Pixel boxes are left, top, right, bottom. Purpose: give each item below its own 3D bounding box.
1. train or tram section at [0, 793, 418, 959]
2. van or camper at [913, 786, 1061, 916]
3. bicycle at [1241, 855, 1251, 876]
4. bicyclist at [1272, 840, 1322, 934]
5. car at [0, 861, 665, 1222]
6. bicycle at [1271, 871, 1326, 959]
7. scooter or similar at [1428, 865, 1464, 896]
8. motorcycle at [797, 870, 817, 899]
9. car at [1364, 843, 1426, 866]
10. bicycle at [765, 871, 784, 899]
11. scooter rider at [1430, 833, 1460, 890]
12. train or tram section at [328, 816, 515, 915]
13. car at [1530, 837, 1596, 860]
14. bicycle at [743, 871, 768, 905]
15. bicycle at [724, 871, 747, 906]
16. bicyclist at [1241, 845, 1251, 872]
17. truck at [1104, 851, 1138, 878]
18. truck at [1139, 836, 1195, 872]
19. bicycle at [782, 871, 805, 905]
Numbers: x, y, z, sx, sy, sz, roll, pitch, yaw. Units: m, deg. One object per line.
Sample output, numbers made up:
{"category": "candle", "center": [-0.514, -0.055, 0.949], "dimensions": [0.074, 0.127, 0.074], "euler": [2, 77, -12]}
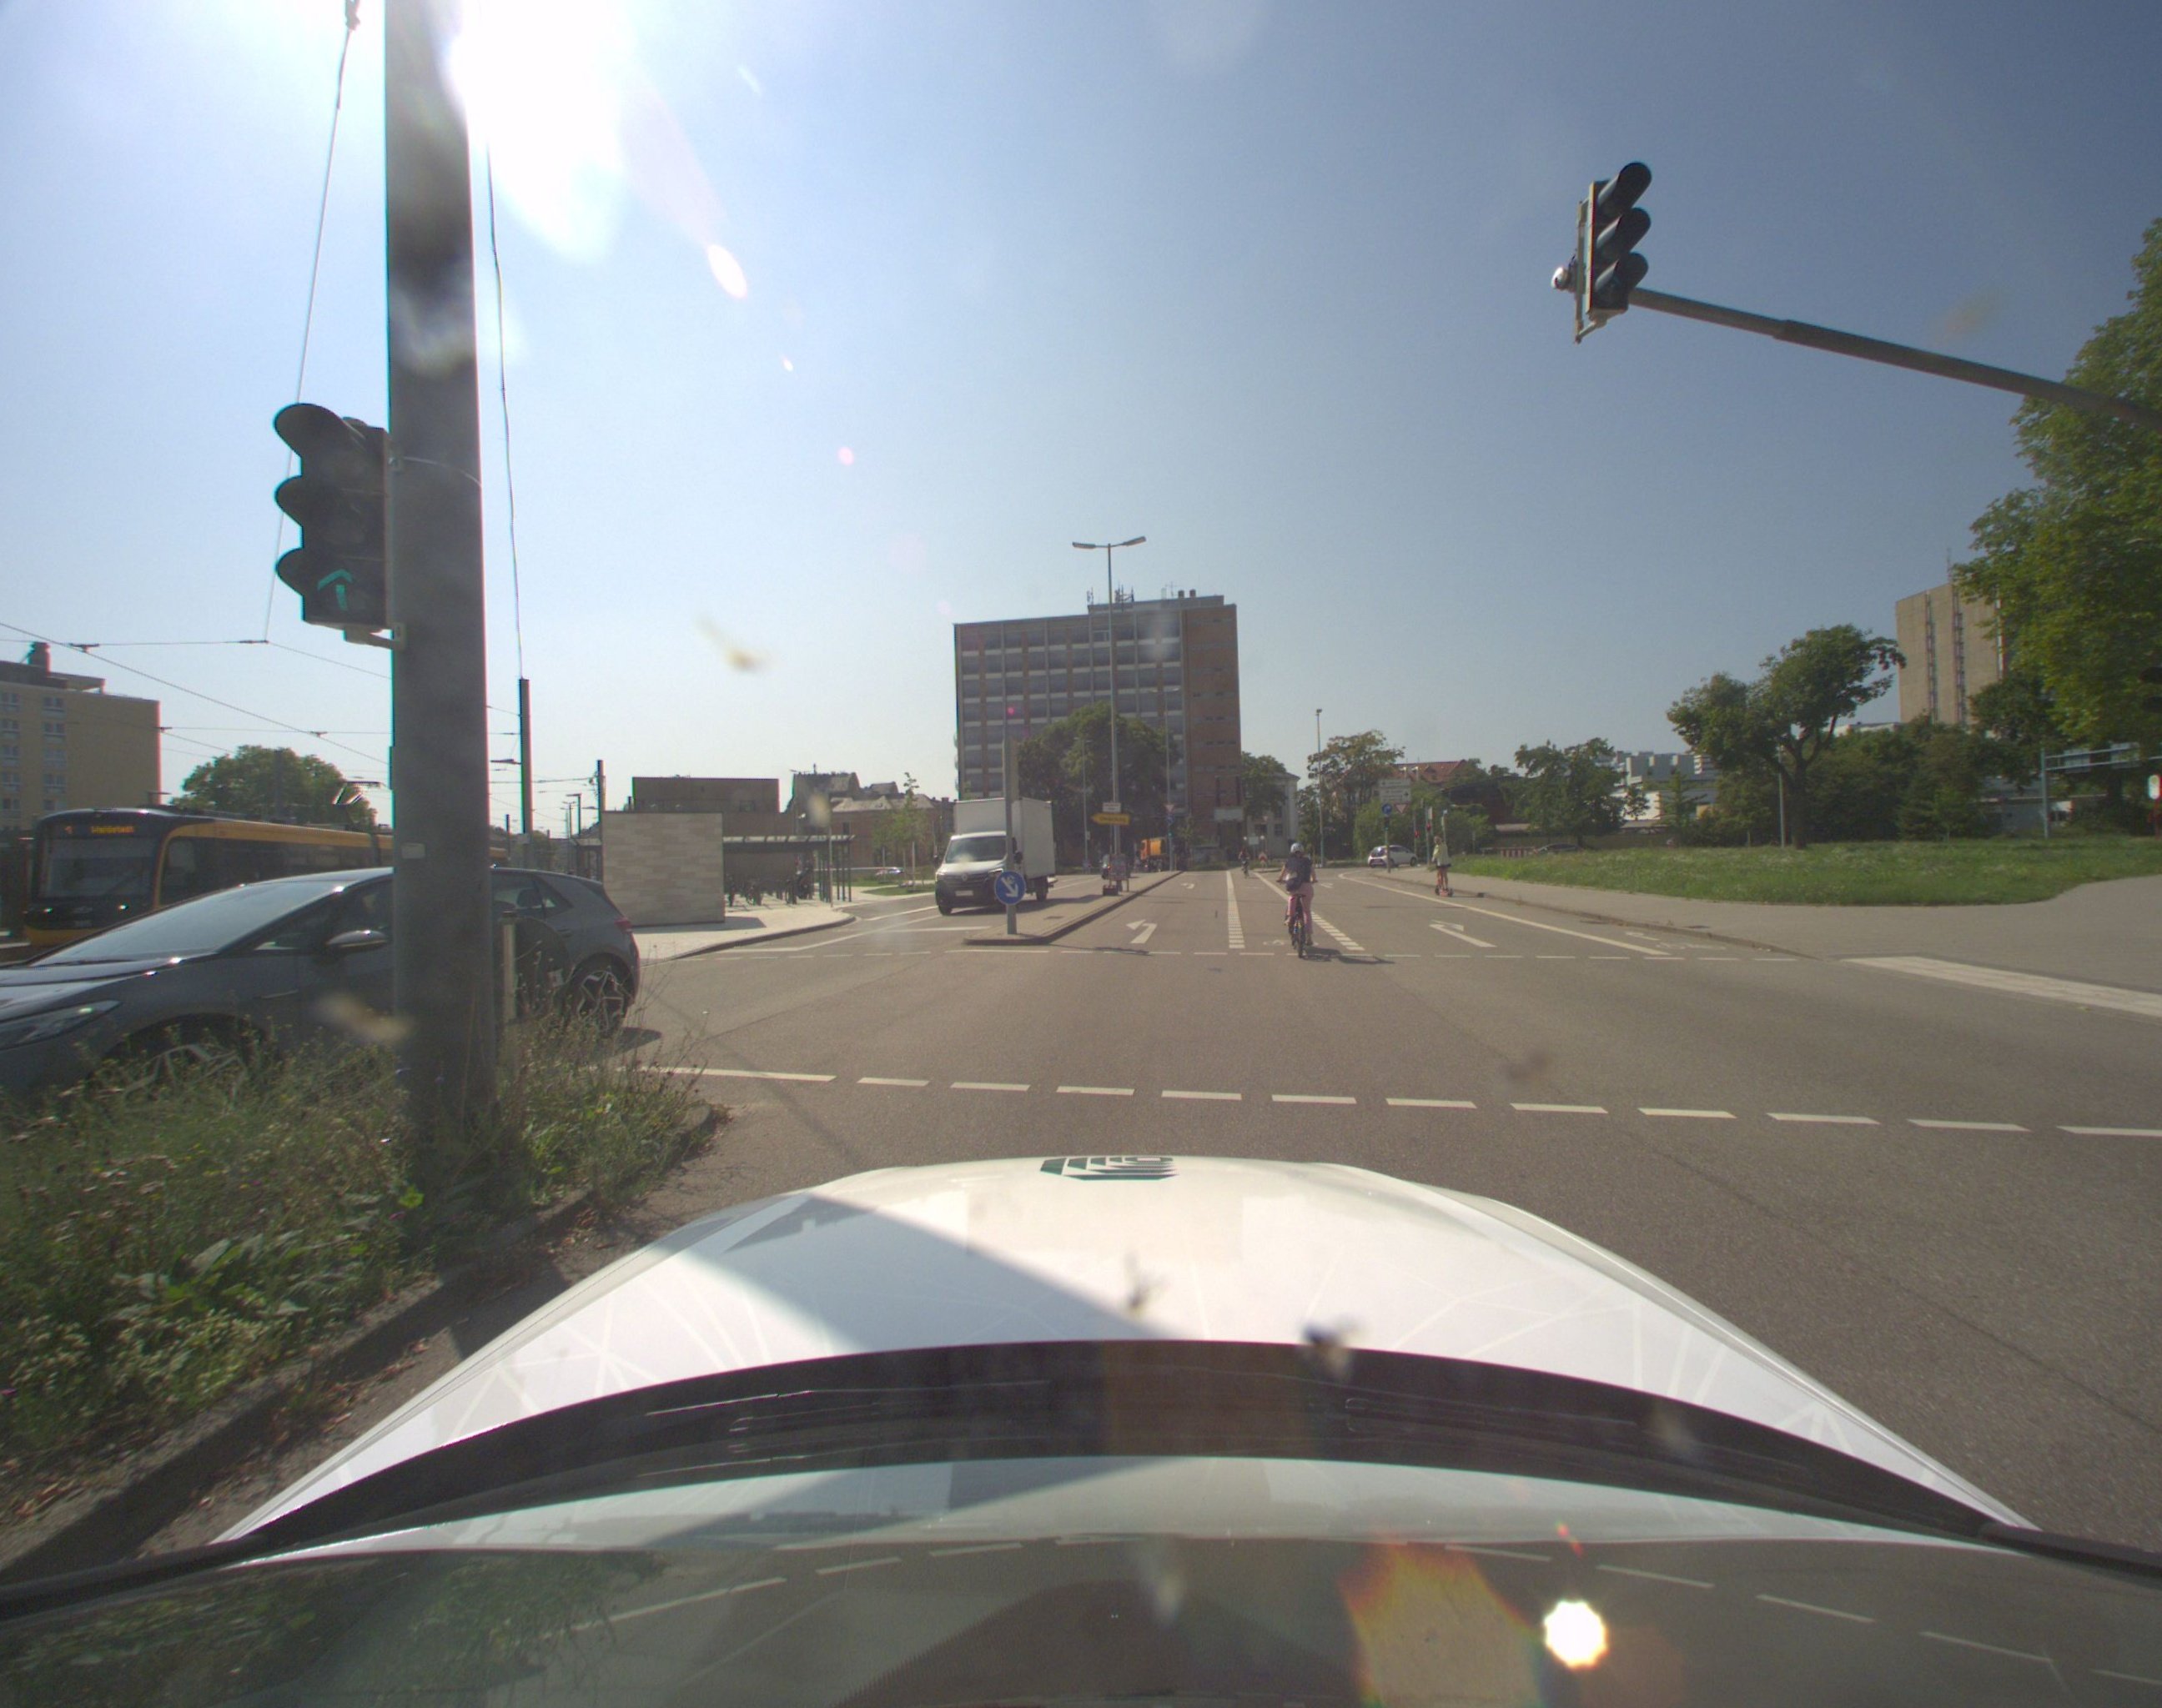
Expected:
{"category": "train or tram section", "center": [-25.660, 0.614, 25.932], "dimensions": [2.871, 3.548, 17.592], "euler": [-1, -1, -25]}
{"category": "van or camper", "center": [-2.565, -0.086, 24.885], "dimensions": [2.385, 3.306, 7.211], "euler": [-2, 0, 10]}
{"category": "bicycle", "center": [9.006, 0.636, 44.430], "dimensions": [0.441, 1.116, 1.450], "euler": [-2, 0, 9]}
{"category": "bicyclist", "center": [3.167, 0.479, 11.992], "dimensions": [0.599, 1.335, 0.661], "euler": [-2, 0, 8]}
{"category": "car", "center": [-5.171, 0.874, 5.788], "dimensions": [1.686, 1.530, 4.195], "euler": [-2, 0, 10]}
{"category": "bicycle", "center": [3.196, 0.857, 12.073], "dimensions": [0.600, 1.163, 1.816], "euler": [-2, 0, 10]}
{"category": "scooter or similar", "center": [11.643, 0.842, 26.004], "dimensions": [0.766, 0.926, 1.626], "euler": [-1, 0, 14]}
{"category": "motorcycle", "center": [-12.165, 1.343, 36.192], "dimensions": [0.605, 1.210, 2.242], "euler": [-2, 0, -14]}
{"category": "car", "center": [21.161, 0.022, 54.857], "dimensions": [4.014, 1.391, 1.830], "euler": [-2, 0, -32]}
{"category": "bicycle", "center": [-14.124, 1.419, 37.566], "dimensions": [0.605, 1.210, 1.802], "euler": [-2, 0, -14]}
{"category": "scooter rider", "center": [11.673, 0.241, 26.138], "dimensions": [0.756, 1.775, 0.557], "euler": [-2, 0, 14]}
{"category": "train or tram section", "center": [-33.427, 0.637, 42.596], "dimensions": [2.900, 4.068, 18.984], "euler": [-1, -1, -24]}
{"category": "car", "center": [36.978, -0.420, 62.548], "dimensions": [3.960, 1.565, 1.829], "euler": [-2, 0, 12]}
{"category": "bicycle", "center": [-12.166, 1.247, 30.481], "dimensions": [0.605, 1.210, 1.802], "euler": [-2, 0, -14]}
{"category": "bicycle", "center": [-12.818, 1.259, 30.245], "dimensions": [0.540, 1.210, 1.604], "euler": [-2, 0, -16]}
{"category": "bicyclist", "center": [9.011, 0.246, 44.556], "dimensions": [0.447, 1.421, 0.497], "euler": [-2, 0, 9]}
{"category": "truck", "center": [2.409, 0.605, 48.186], "dimensions": [1.546, 1.504, 3.630], "euler": [-2, 0, 9]}
{"category": "truck", "center": [7.525, 0.062, 71.864], "dimensions": [2.703, 2.990, 5.930], "euler": [-1, -1, -17]}
{"category": "bicycle", "center": [-10.874, 1.254, 30.839], "dimensions": [0.605, 1.210, 1.802], "euler": [-2, 0, -14]}
